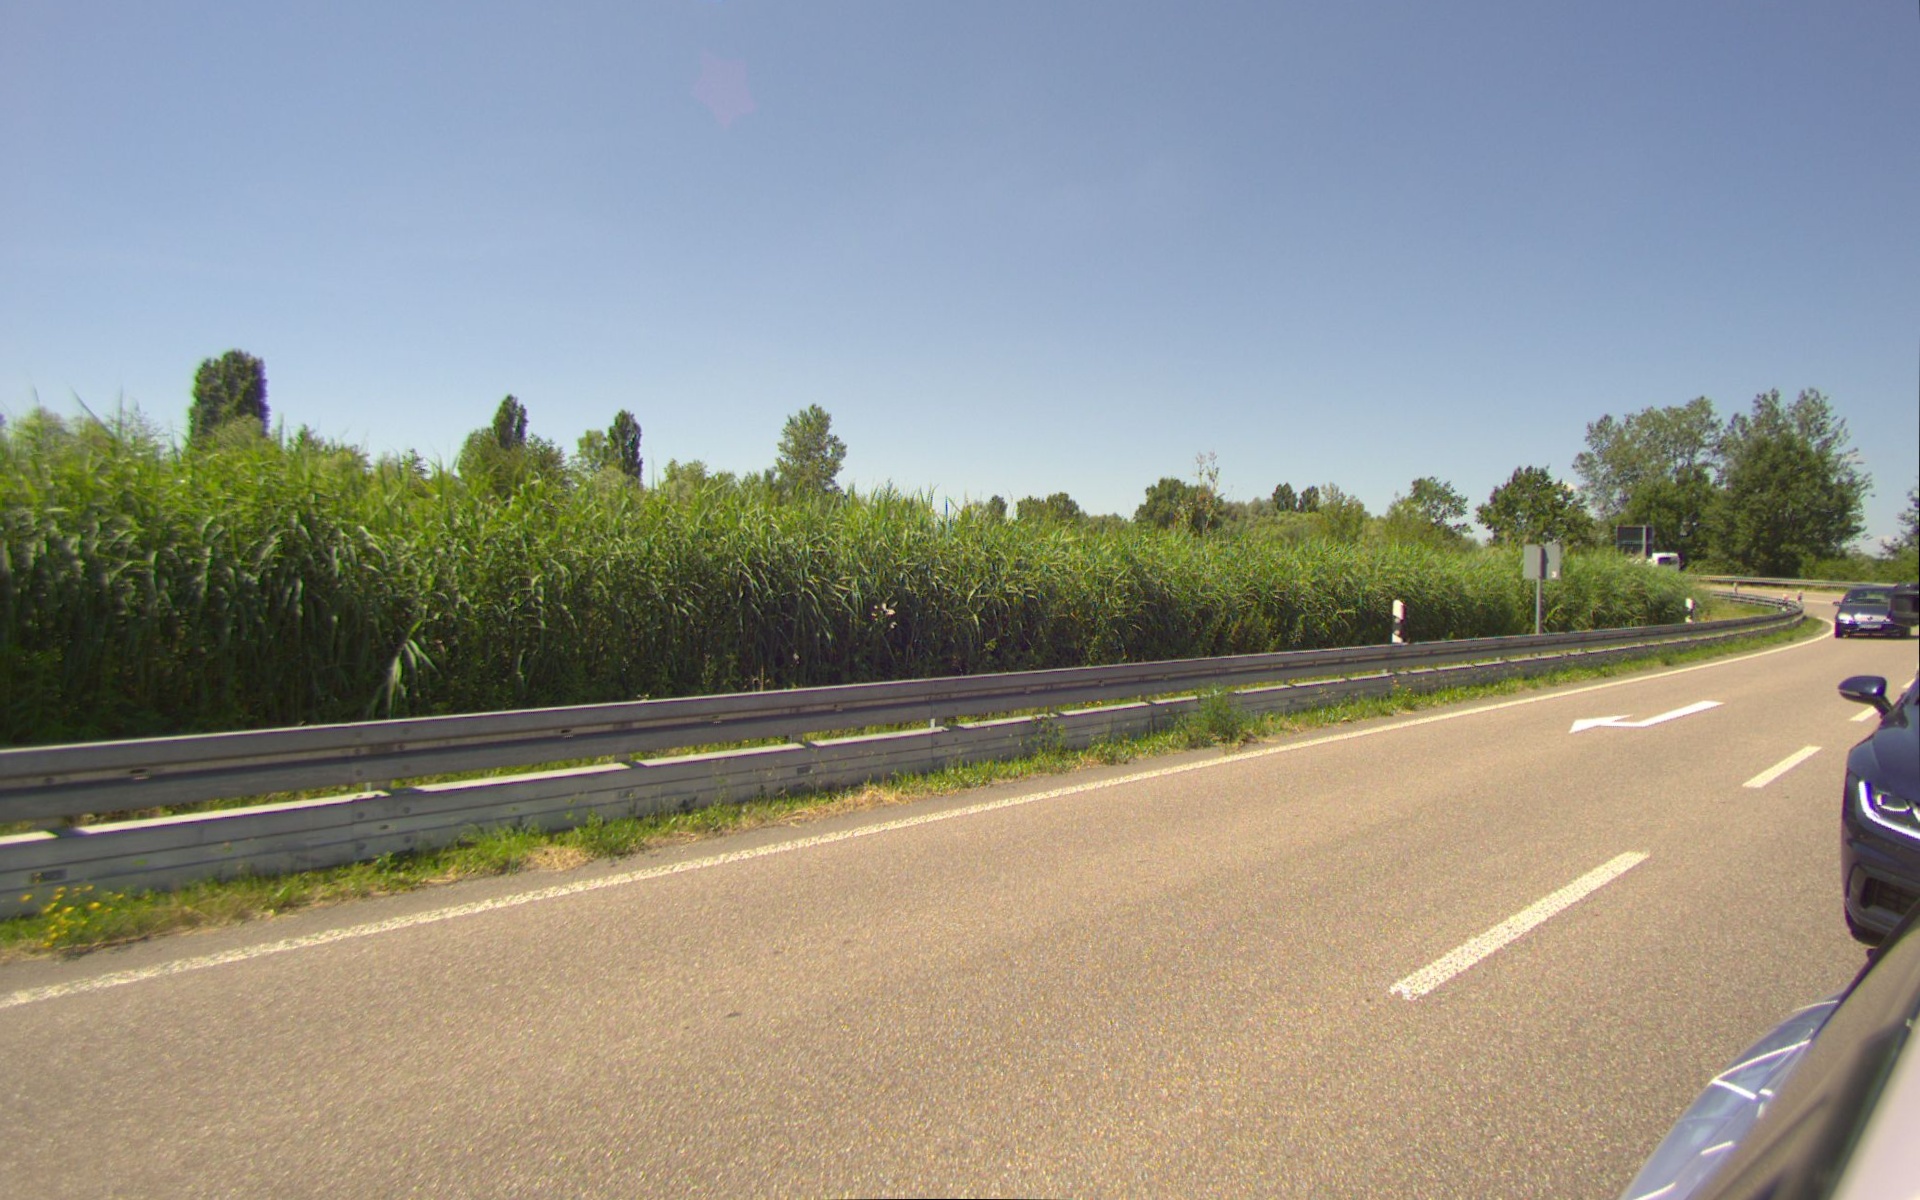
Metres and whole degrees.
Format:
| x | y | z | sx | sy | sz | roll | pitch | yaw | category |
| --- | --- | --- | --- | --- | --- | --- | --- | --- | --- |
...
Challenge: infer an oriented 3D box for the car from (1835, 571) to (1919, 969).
| x | y | z | sx | sy | sz | roll | pitch | yaw | category |
| --- | --- | --- | --- | --- | --- | --- | --- | --- | --- |
| 5.638 | 0.622 | 4.678 | 4.338 | 1.481 | 1.818 | -1 | 1 | -41 | car |

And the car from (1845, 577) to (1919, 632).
| x | y | z | sx | sy | sz | roll | pitch | yaw | category |
| --- | --- | --- | --- | --- | --- | --- | --- | --- | --- |
| 28.825 | 0.093 | 31.629 | 1.666 | 1.620 | 3.502 | 0 | 1 | 40 | car |

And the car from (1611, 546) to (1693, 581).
| x | y | z | sx | sy | sz | roll | pitch | yaw | category |
| --- | --- | --- | --- | --- | --- | --- | --- | --- | --- |
| 52.711 | -2.737 | 77.225 | 1.961 | 2.446 | 5.594 | -4 | 1 | -4 | car |
